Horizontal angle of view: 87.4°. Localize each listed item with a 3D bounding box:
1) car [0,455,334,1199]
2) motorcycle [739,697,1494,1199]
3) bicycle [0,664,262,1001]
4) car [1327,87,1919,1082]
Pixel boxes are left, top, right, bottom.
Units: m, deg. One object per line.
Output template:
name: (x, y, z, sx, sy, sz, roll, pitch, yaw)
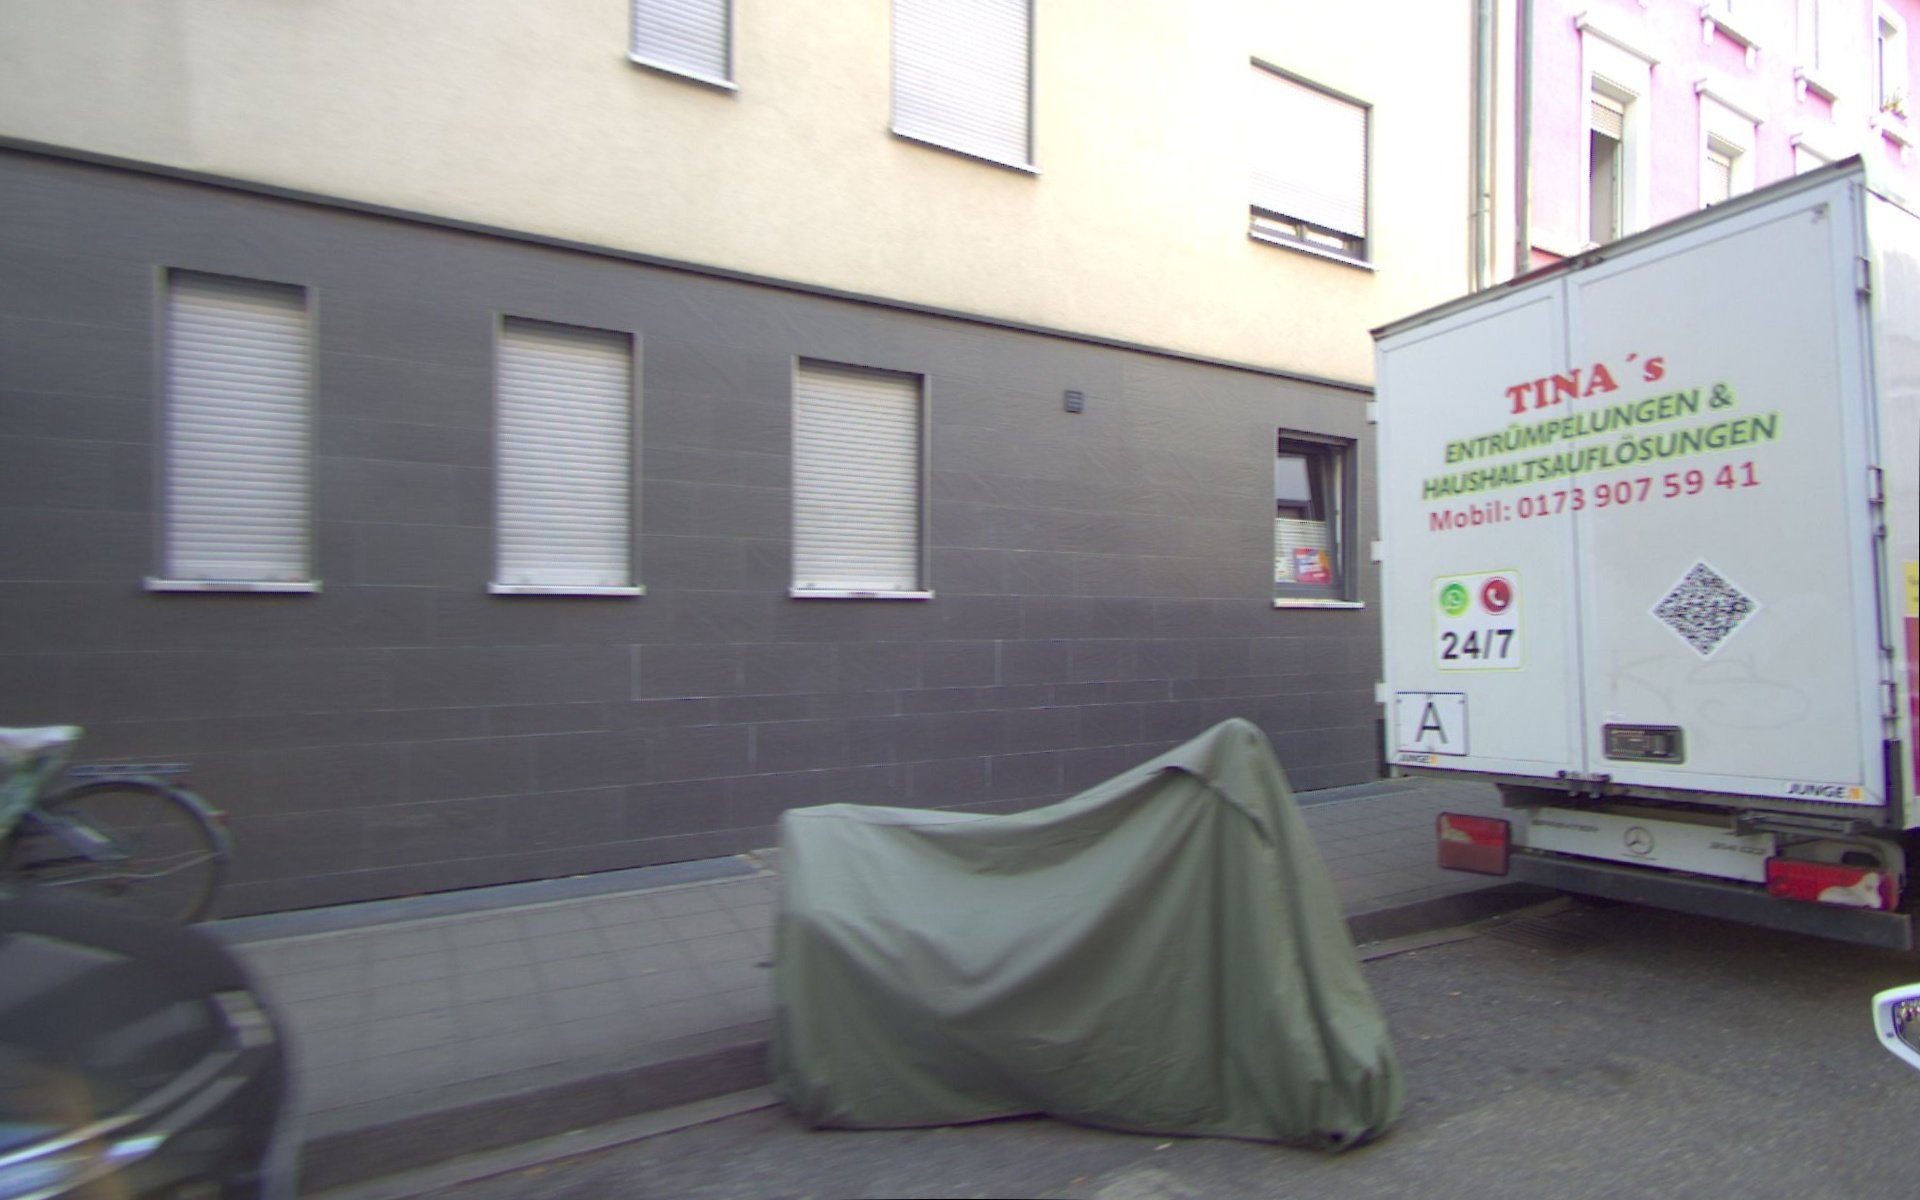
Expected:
car: (-3.036, 0.742, 0.845, 4.196, 1.672, 1.709, 0, -3, -31)
motorcycle: (0.431, 0.978, 3.208, 2.064, 1.269, 0.793, -2, -3, 11)
bicycle: (-3.690, 0.850, 3.727, 1.752, 1.179, 0.488, 0, -3, -30)
car: (5.640, 0.038, 6.140, 7.069, 3.334, 2.333, 1, -3, -30)
